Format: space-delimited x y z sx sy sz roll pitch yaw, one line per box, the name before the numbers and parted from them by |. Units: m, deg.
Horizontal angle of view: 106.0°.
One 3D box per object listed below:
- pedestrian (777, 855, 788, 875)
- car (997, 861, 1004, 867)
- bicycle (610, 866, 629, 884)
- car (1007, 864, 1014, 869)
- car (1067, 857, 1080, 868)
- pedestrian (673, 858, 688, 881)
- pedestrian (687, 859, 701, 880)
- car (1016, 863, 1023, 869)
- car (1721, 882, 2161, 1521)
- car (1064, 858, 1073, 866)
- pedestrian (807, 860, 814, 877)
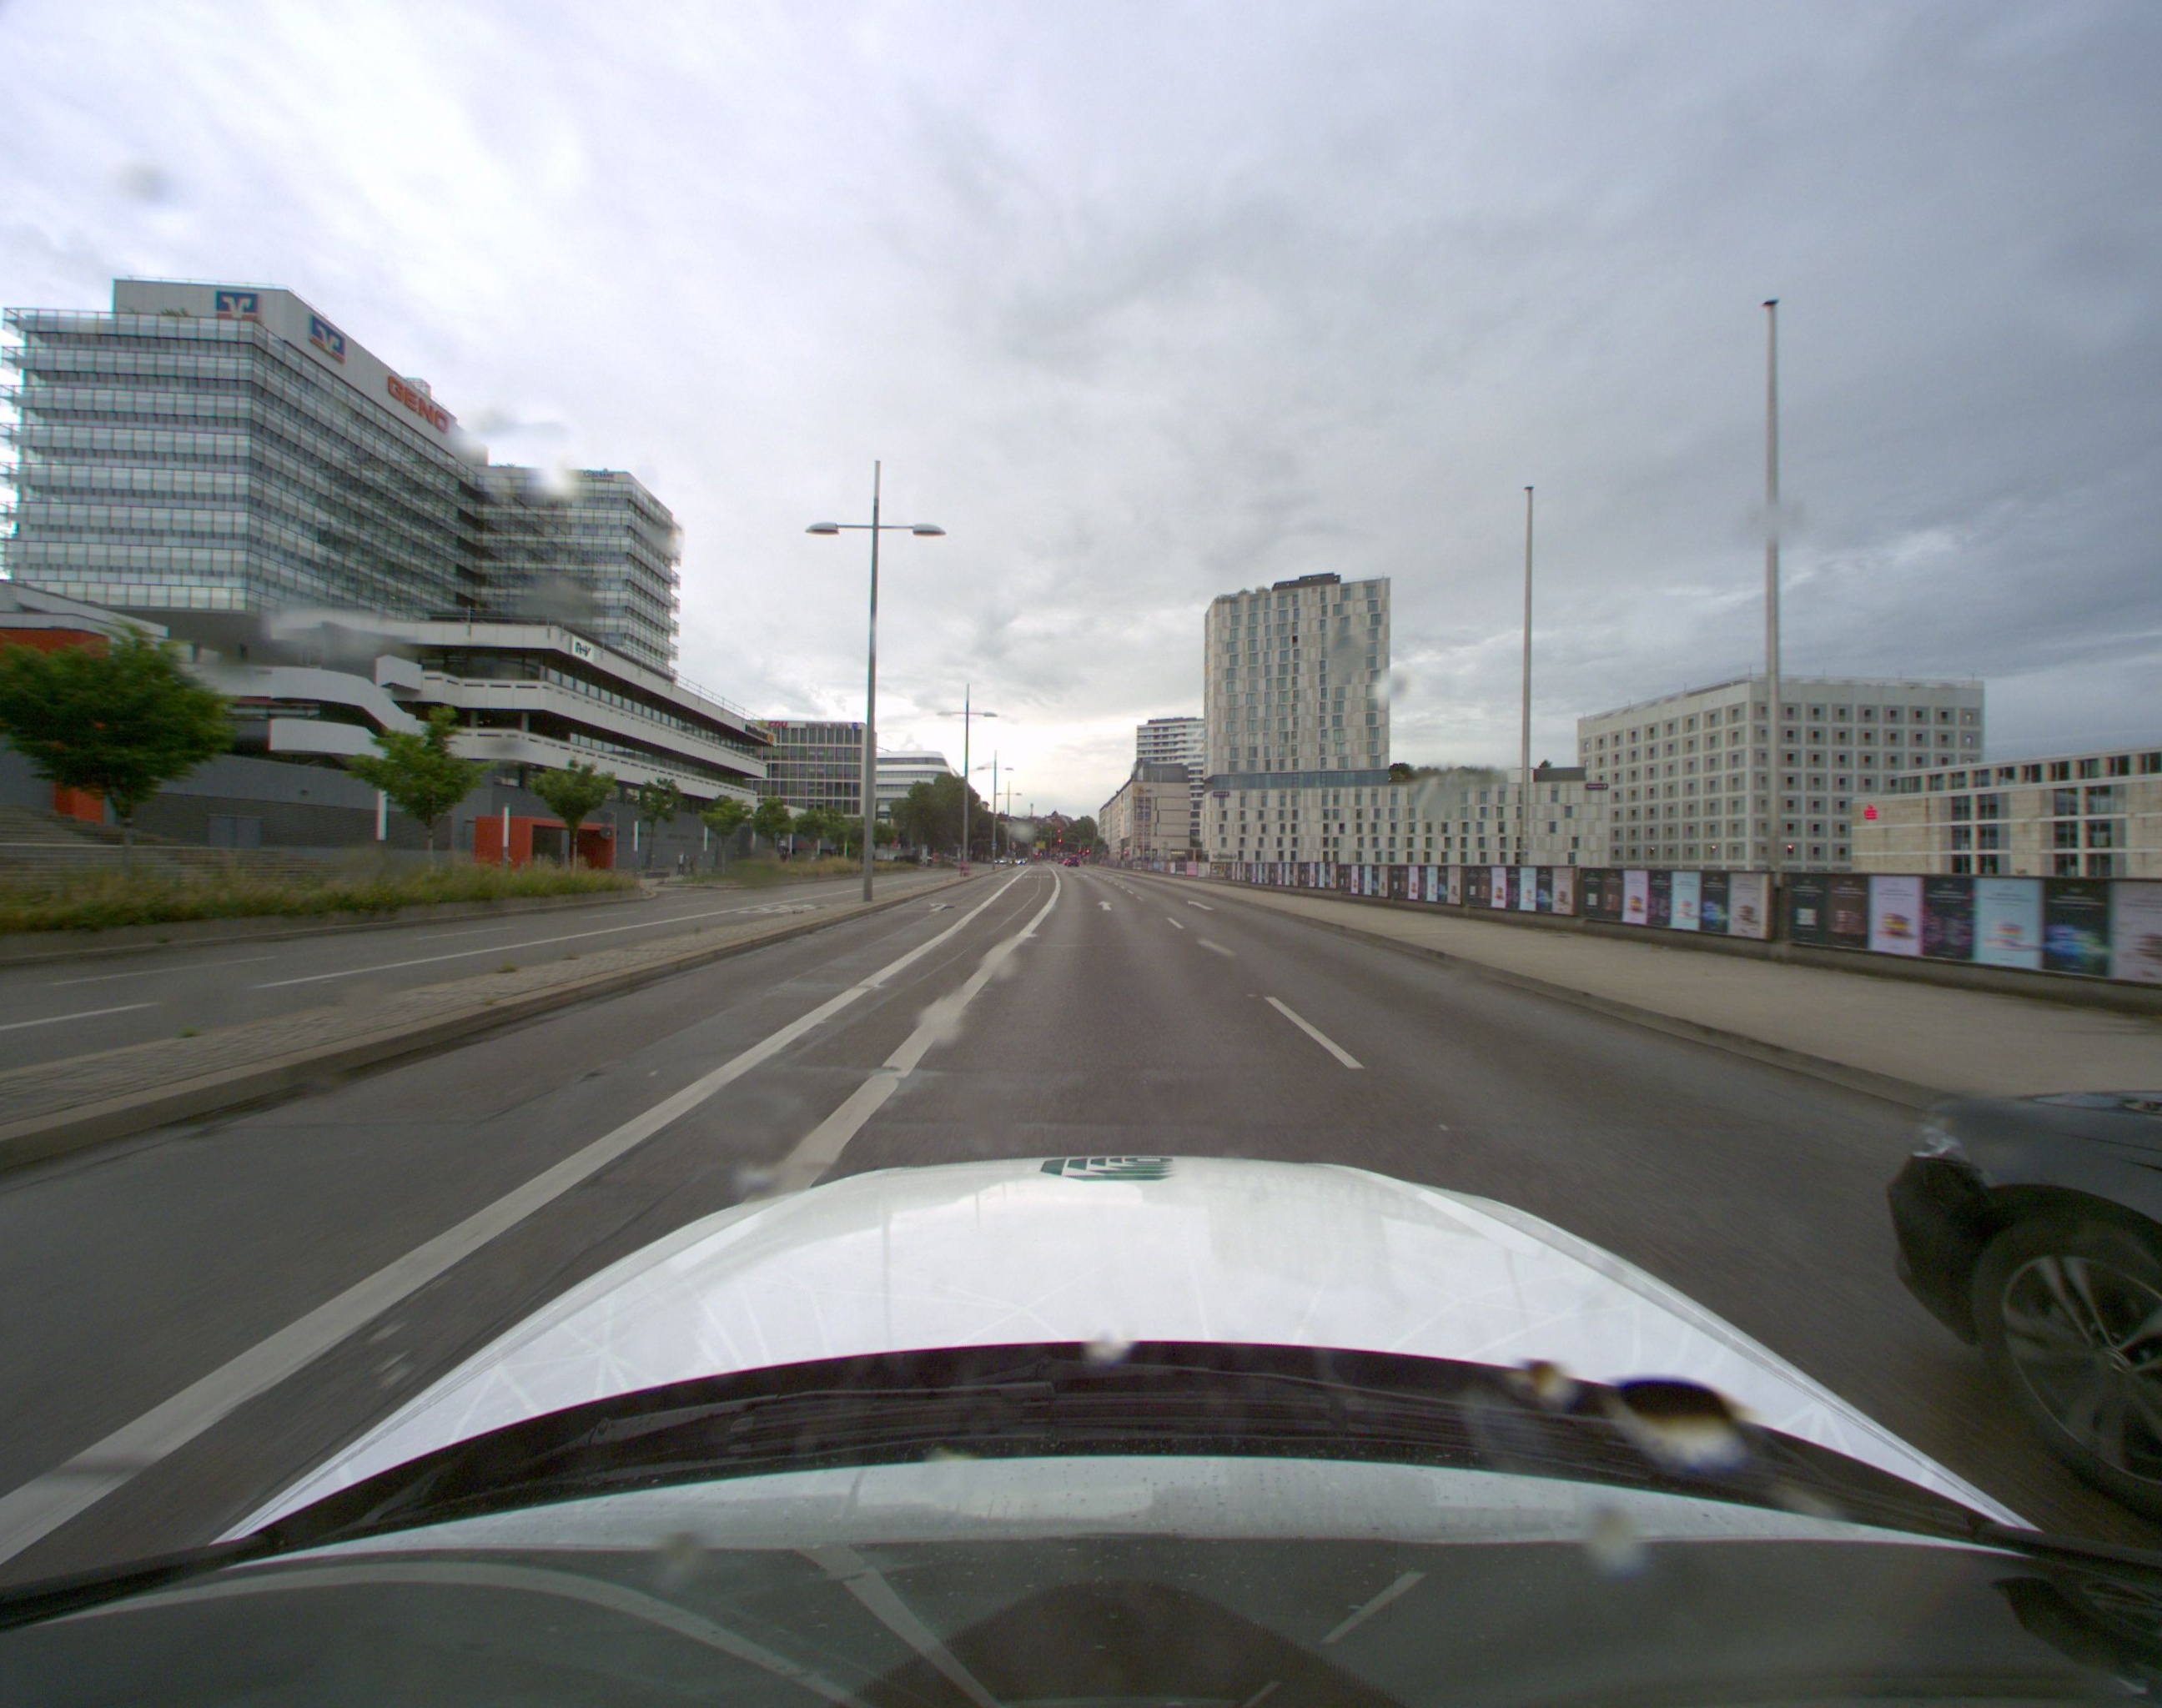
pedestrian | -27.864 1.054 76.057 0.782 1.808 0.628 0 -2 -3
car | -21.832 2.713 220.365 1.739 1.328 4.220 0 -2 -3
bicycle | -22.485 1.022 39.647 0.612 0.857 1.639 1 -2 -36
car | -19.220 3.402 220.814 1.739 1.257 3.536 1 0 -3
car | -1.380 1.560 150.103 2.028 1.882 5.037 -3 0 -2
pedestrian | -28.351 1.100 57.626 0.616 1.658 0.798 -2 -2 -1
pedestrian | -27.437 1.101 57.690 0.616 1.446 0.798 0 -2 -1
car | -16.583 3.233 220.007 1.739 1.445 3.391 0 -2 -3
car | 3.195 0.740 0.929 1.717 1.376 4.156 0 -2 1
car | -2.738 1.737 175.043 1.738 1.532 3.805 0 -2 -6
pedestrian | -29.761 1.589 89.619 0.628 1.808 0.628 0 -2 -3
